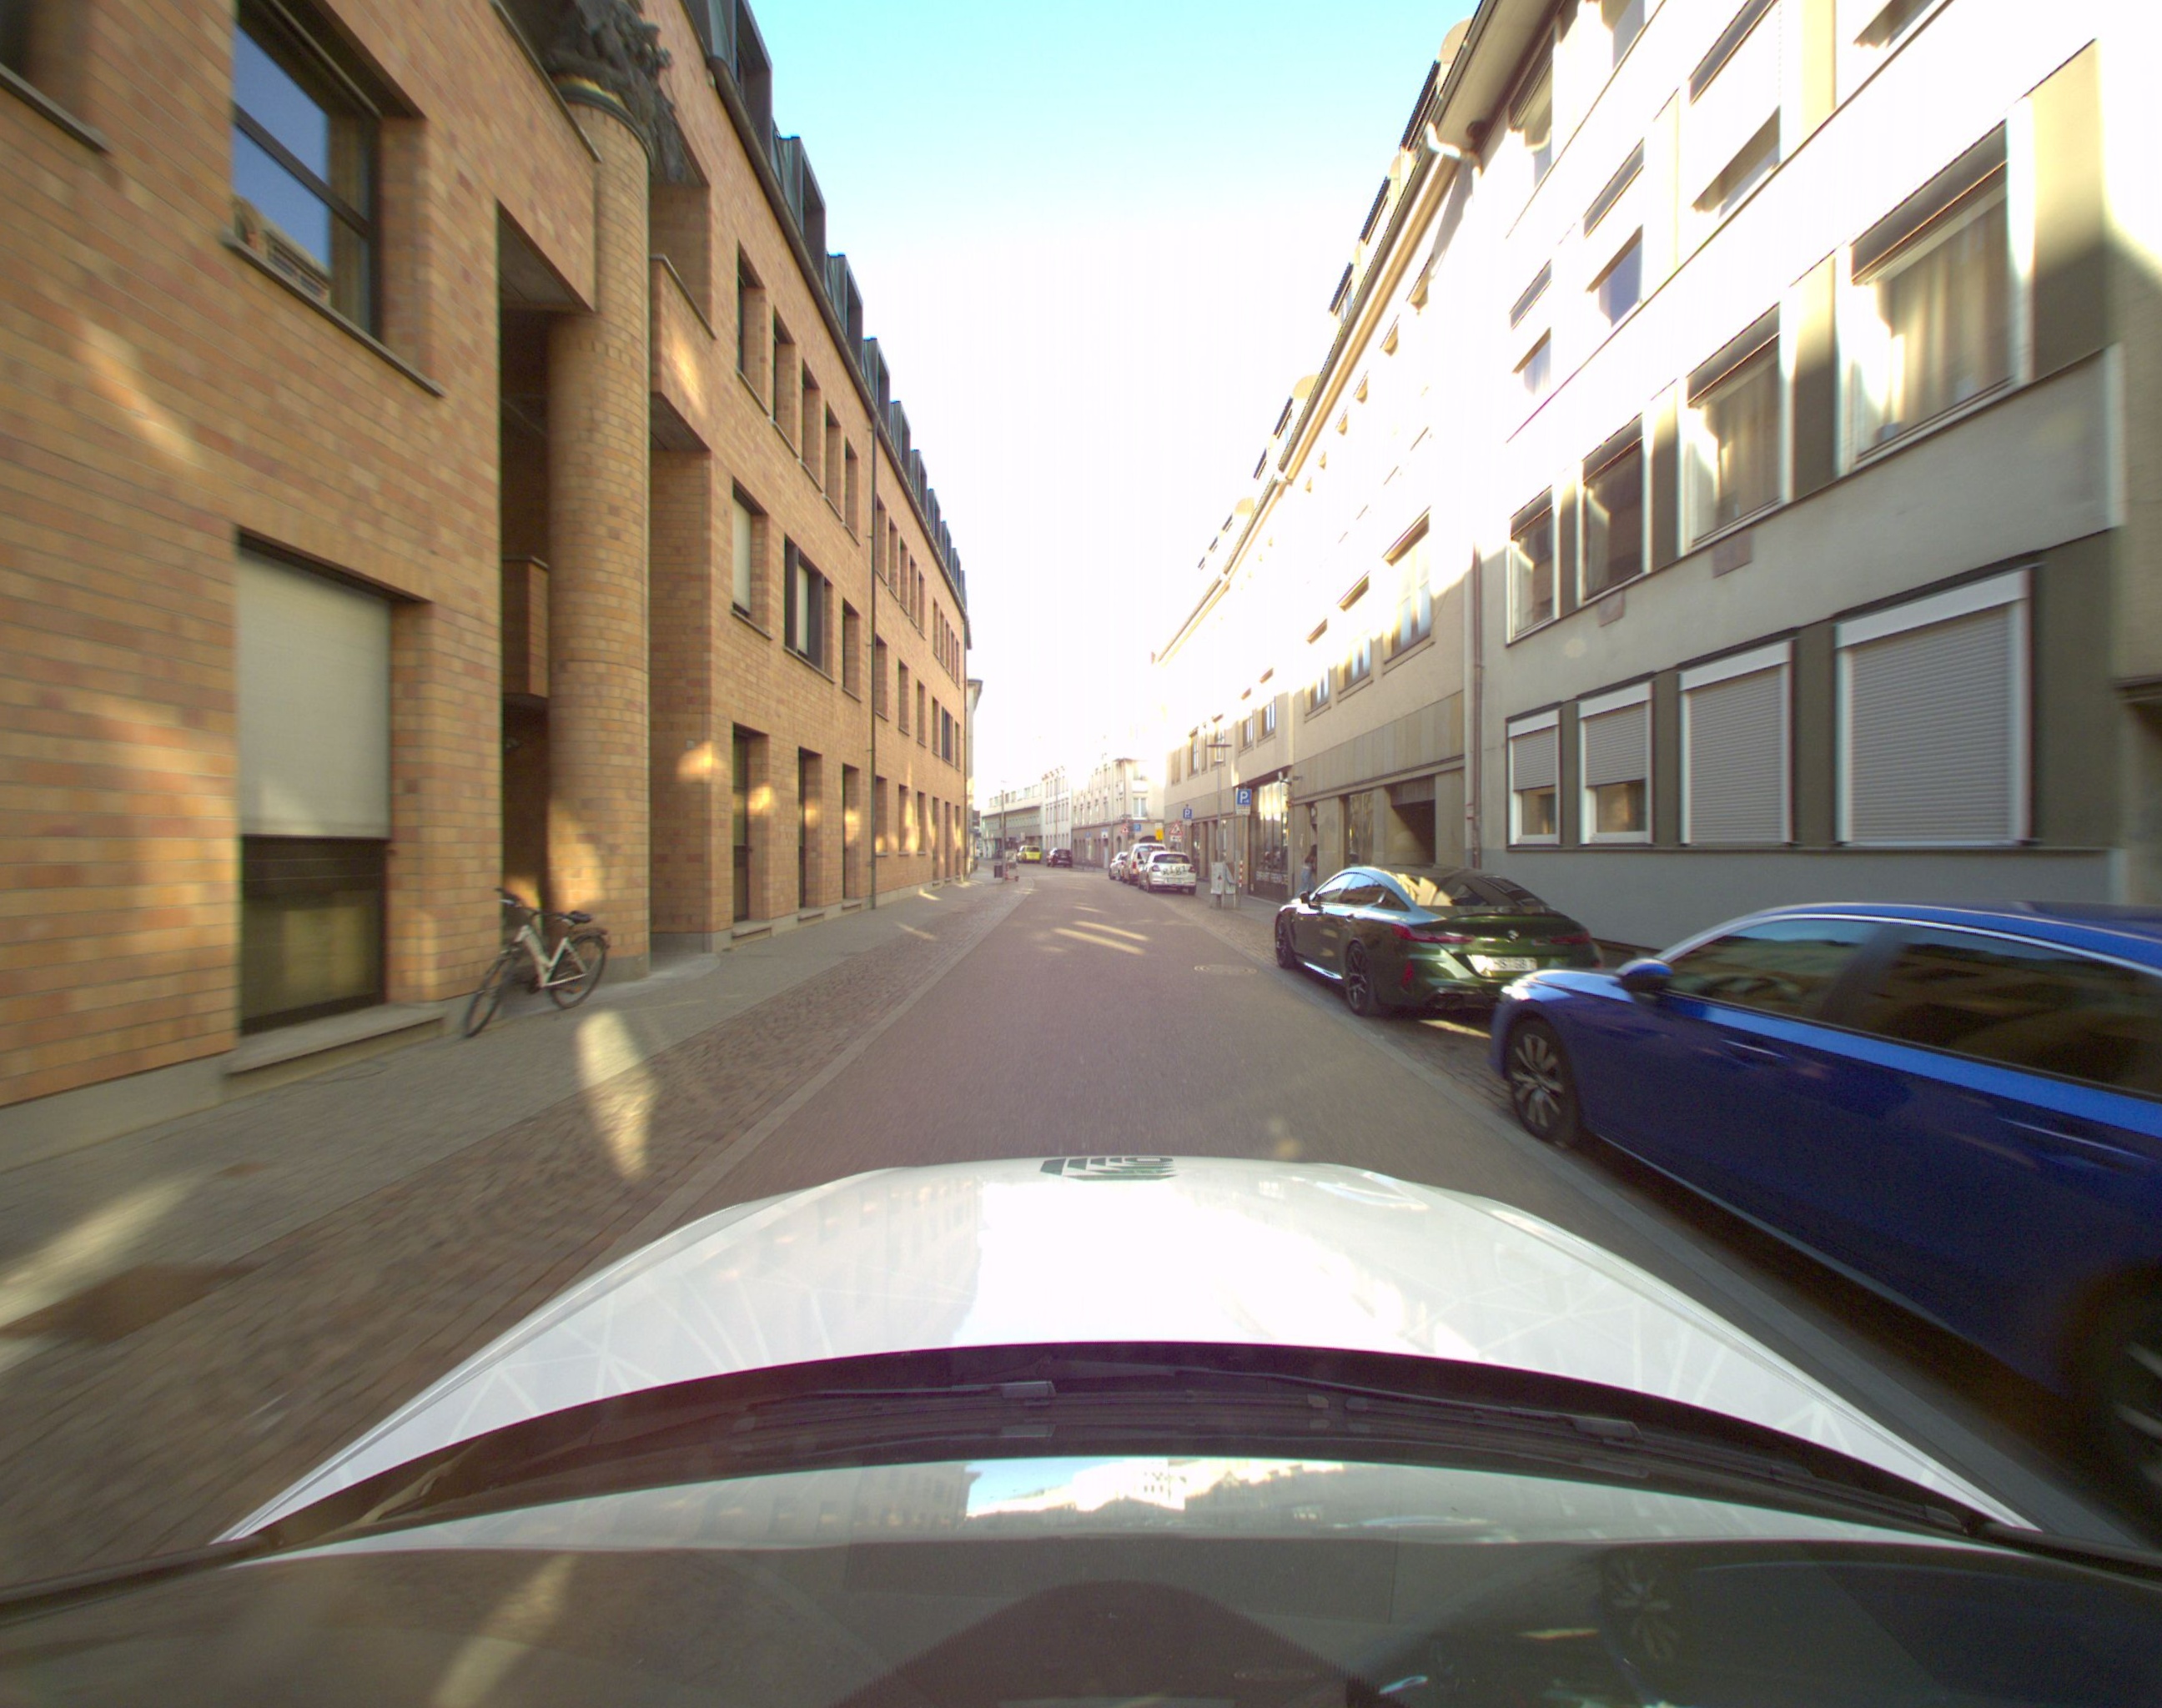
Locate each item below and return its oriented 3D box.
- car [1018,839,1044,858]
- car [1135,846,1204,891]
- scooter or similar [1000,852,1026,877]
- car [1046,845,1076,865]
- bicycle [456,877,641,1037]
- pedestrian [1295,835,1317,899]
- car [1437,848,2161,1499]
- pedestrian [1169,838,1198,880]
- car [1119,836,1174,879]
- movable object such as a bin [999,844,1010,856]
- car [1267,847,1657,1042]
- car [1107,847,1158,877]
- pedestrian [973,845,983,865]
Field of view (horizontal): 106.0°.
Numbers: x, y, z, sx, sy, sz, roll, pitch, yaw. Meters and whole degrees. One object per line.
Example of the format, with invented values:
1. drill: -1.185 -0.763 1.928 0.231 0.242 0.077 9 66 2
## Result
1. car: -5.487 -0.615 88.450 2.056 2.013 4.153 -1 1 -15
2. car: 3.211 0.489 30.313 1.836 1.478 4.163 1 1 -4
3. scooter or similar: -3.358 0.516 40.470 0.691 1.217 1.365 -1 1 24
4. car: -1.810 0.051 72.292 1.968 1.692 4.086 0 1 -11
5. bicycle: -4.676 0.844 7.314 0.630 1.162 1.799 2 1 -7
6. pedestrian: 5.915 0.334 21.423 0.477 1.654 0.540 -1 0 12
7. car: 3.323 0.722 3.174 1.801 1.412 4.790 1 1 0
8. pedestrian: 4.522 0.203 36.006 1.040 1.801 1.197 -1 0 -3
9. car: 2.856 0.115 36.600 1.826 1.791 5.208 0 0 -3
10. movable object such as a bin: -10.511 -0.567 112.368 1.135 1.558 1.728 -1 1 -19
11. car: 3.517 0.670 8.862 1.887 1.453 5.227 1 1 1
12. car: 2.631 0.378 42.541 1.887 1.518 4.052 0 1 -8
13. pedestrian: -9.145 0.103 72.471 0.768 1.724 0.683 -1 0 -17
